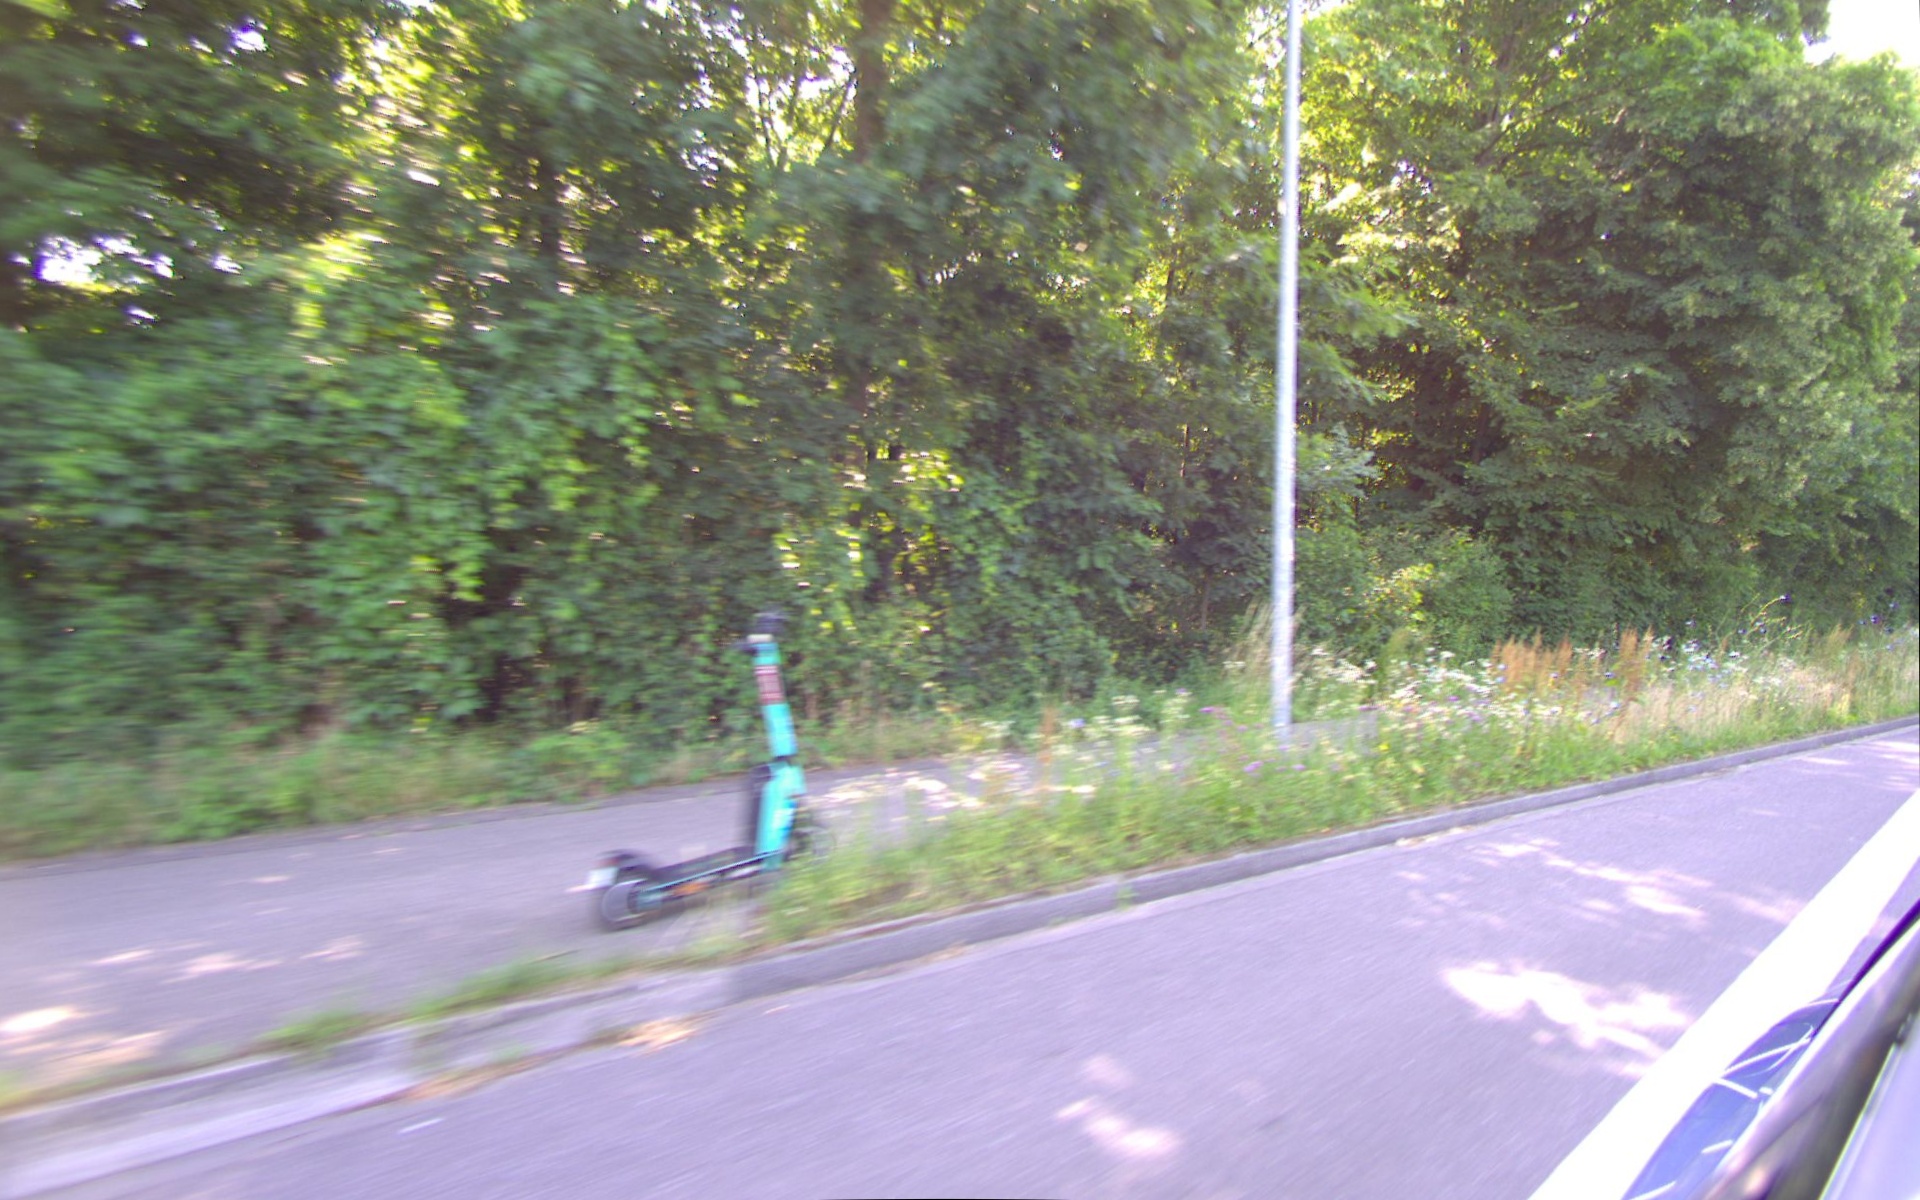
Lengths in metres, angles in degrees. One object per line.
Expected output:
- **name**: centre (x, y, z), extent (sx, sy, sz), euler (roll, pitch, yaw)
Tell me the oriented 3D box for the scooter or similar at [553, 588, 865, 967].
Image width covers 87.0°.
- **scooter or similar**: centre (-0.981, 0.617, 4.209), extent (0.398, 1.323, 1.314), euler (2, 1, 34)
